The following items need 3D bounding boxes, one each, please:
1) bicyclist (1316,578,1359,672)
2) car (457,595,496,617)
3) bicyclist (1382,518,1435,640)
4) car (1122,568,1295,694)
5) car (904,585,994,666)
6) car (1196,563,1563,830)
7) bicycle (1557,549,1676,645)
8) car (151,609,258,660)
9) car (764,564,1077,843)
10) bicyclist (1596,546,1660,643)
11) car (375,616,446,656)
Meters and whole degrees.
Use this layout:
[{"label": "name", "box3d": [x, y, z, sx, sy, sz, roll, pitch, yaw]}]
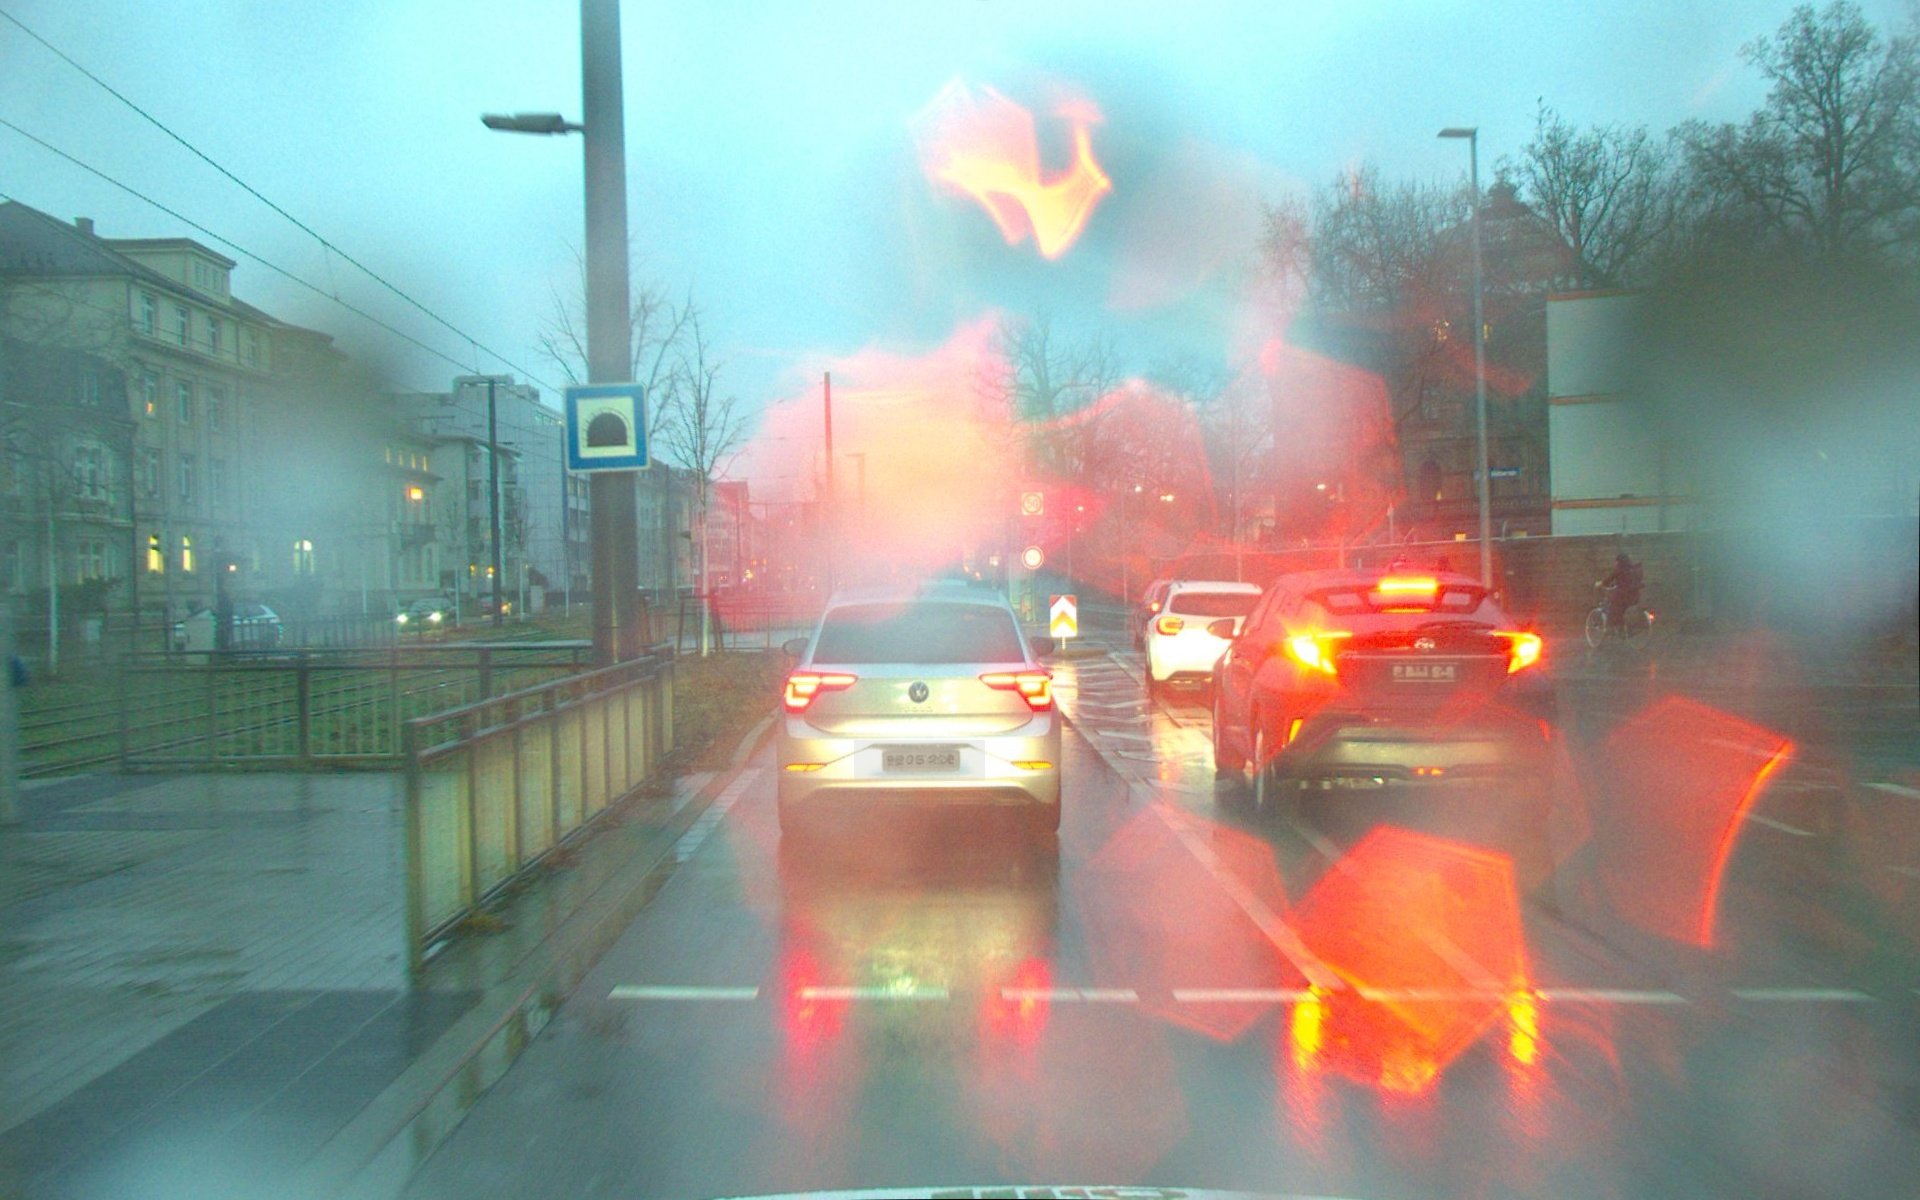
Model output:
[{"label": "bicyclist", "box3d": [6.597, 0.425, 28.942, 0.490, 1.619, 0.836, -2, 1, -4]}, {"label": "car", "box3d": [-34.381, 0.424, 117.690, 1.770, 1.461, 3.924, -2, 1, -4]}, {"label": "bicyclist", "box3d": [6.746, -0.315, 24.915, 0.490, 1.798, 0.836, -2, 1, -4]}, {"label": "car", "box3d": [3.199, 0.381, 21.985, 1.687, 1.505, 4.000, 0, 0, 0]}, {"label": "car", "box3d": [-0.217, 0.488, 33.051, 1.687, 1.505, 4.000, 0, 0, 0]}, {"label": "car", "box3d": [2.669, 0.550, 11.415, 1.686, 1.505, 4.001, 0, 0, 3]}, {"label": "bicycle", "box3d": [11.943, -0.052, 30.186, 0.678, 1.686, 2.232, 1, 0, -22]}, {"label": "car", "box3d": [-24.820, 1.106, 54.491, 1.765, 1.613, 3.998, 0, 0, -2]}, {"label": "car", "box3d": [-0.222, 0.565, 10.970, 1.687, 1.505, 4.000, 0, 0, 0]}, {"label": "bicyclist", "box3d": [12.046, -0.099, 29.835, 0.685, 1.708, 0.812, -1, 0, -21]}, {"label": "car", "box3d": [-23.226, 1.514, 70.001, 1.765, 1.613, 3.998, 0, 0, -2]}]
